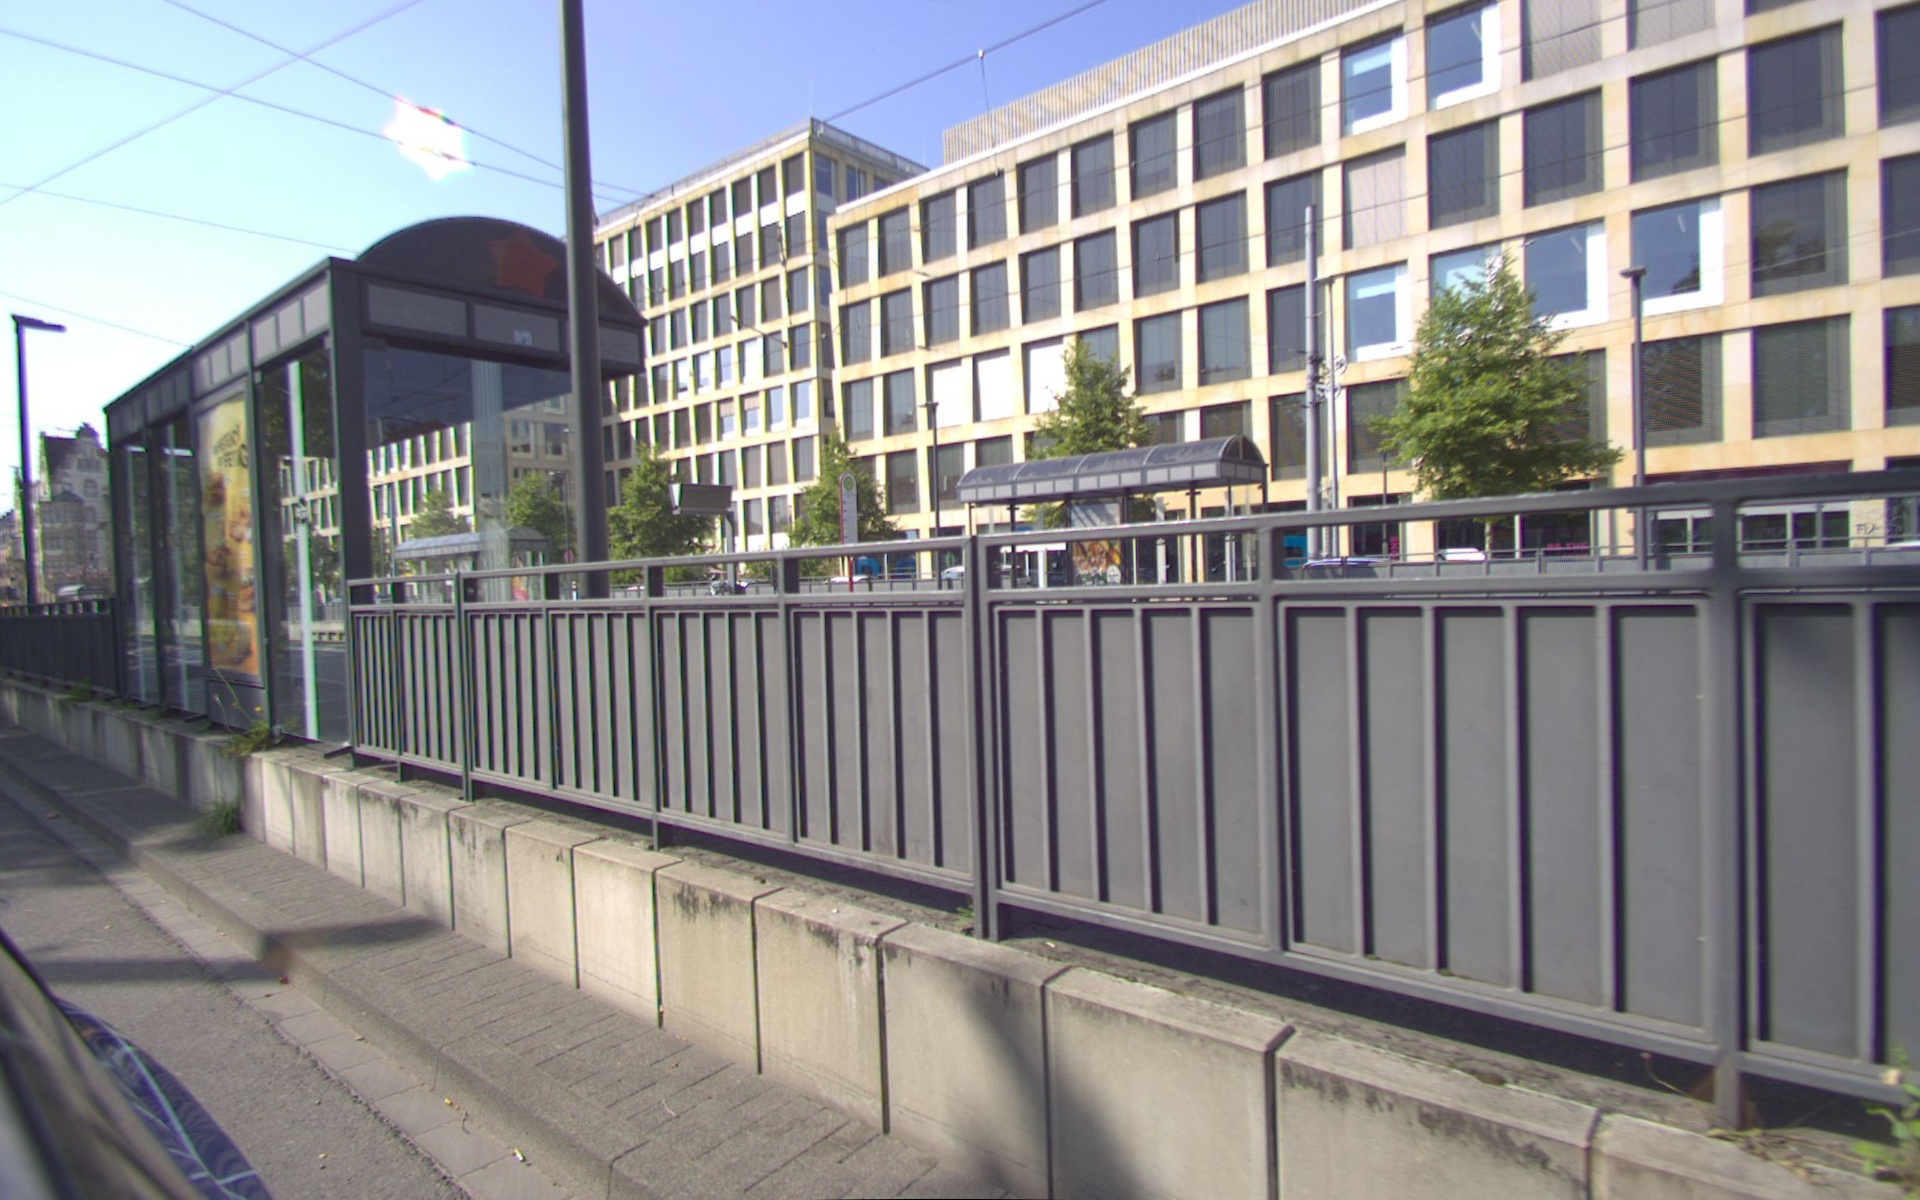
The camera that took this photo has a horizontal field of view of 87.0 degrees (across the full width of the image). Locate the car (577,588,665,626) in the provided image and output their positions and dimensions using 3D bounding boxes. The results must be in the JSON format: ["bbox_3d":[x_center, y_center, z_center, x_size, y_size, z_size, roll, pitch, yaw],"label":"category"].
[{"bbox_3d":[-15.096,0.307,44.966,4.127,1.586,1.746,-1,0,39],"label":"car"}]

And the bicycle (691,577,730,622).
[{"bbox_3d":[-6.669,-0.009,27.039,0.465,1.156,1.487,-3,1,-35],"label":"bicycle"}]

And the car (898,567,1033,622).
[{"bbox_3d":[0.145,-0.147,32.437,4.127,1.615,1.746,-1,0,39],"label":"car"}]

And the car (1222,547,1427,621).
[{"bbox_3d":[8.746,-0.348,24.465,4.307,1.615,1.746,-1,0,40],"label":"car"}]

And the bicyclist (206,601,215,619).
[{"bbox_3d":[-58.275,0.799,78.675,0.447,1.371,0.383,-2,1,40],"label":"bicyclist"}]

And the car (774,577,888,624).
[{"bbox_3d":[-4.715,0.029,36.758,4.127,1.586,1.746,-1,0,39],"label":"car"}]

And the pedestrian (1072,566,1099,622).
[{"bbox_3d":[4.655,-0.216,37.651,0.822,2.029,0.557,0,-1,40],"label":"pedestrian"}]

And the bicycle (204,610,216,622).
[{"bbox_3d":[-58.324,1.223,78.731,1.575,0.886,0.385,-2,1,40],"label":"bicycle"}]

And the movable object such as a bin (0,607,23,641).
[{"bbox_3d":[-94.947,2.420,98.674,3.547,3.247,4.092,-2,0,24],"label":"movable object such as a bin"}]

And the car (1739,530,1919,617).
[{"bbox_3d":[16.431,-0.467,18.027,4.003,1.457,1.694,-1,0,39],"label":"car"}]
